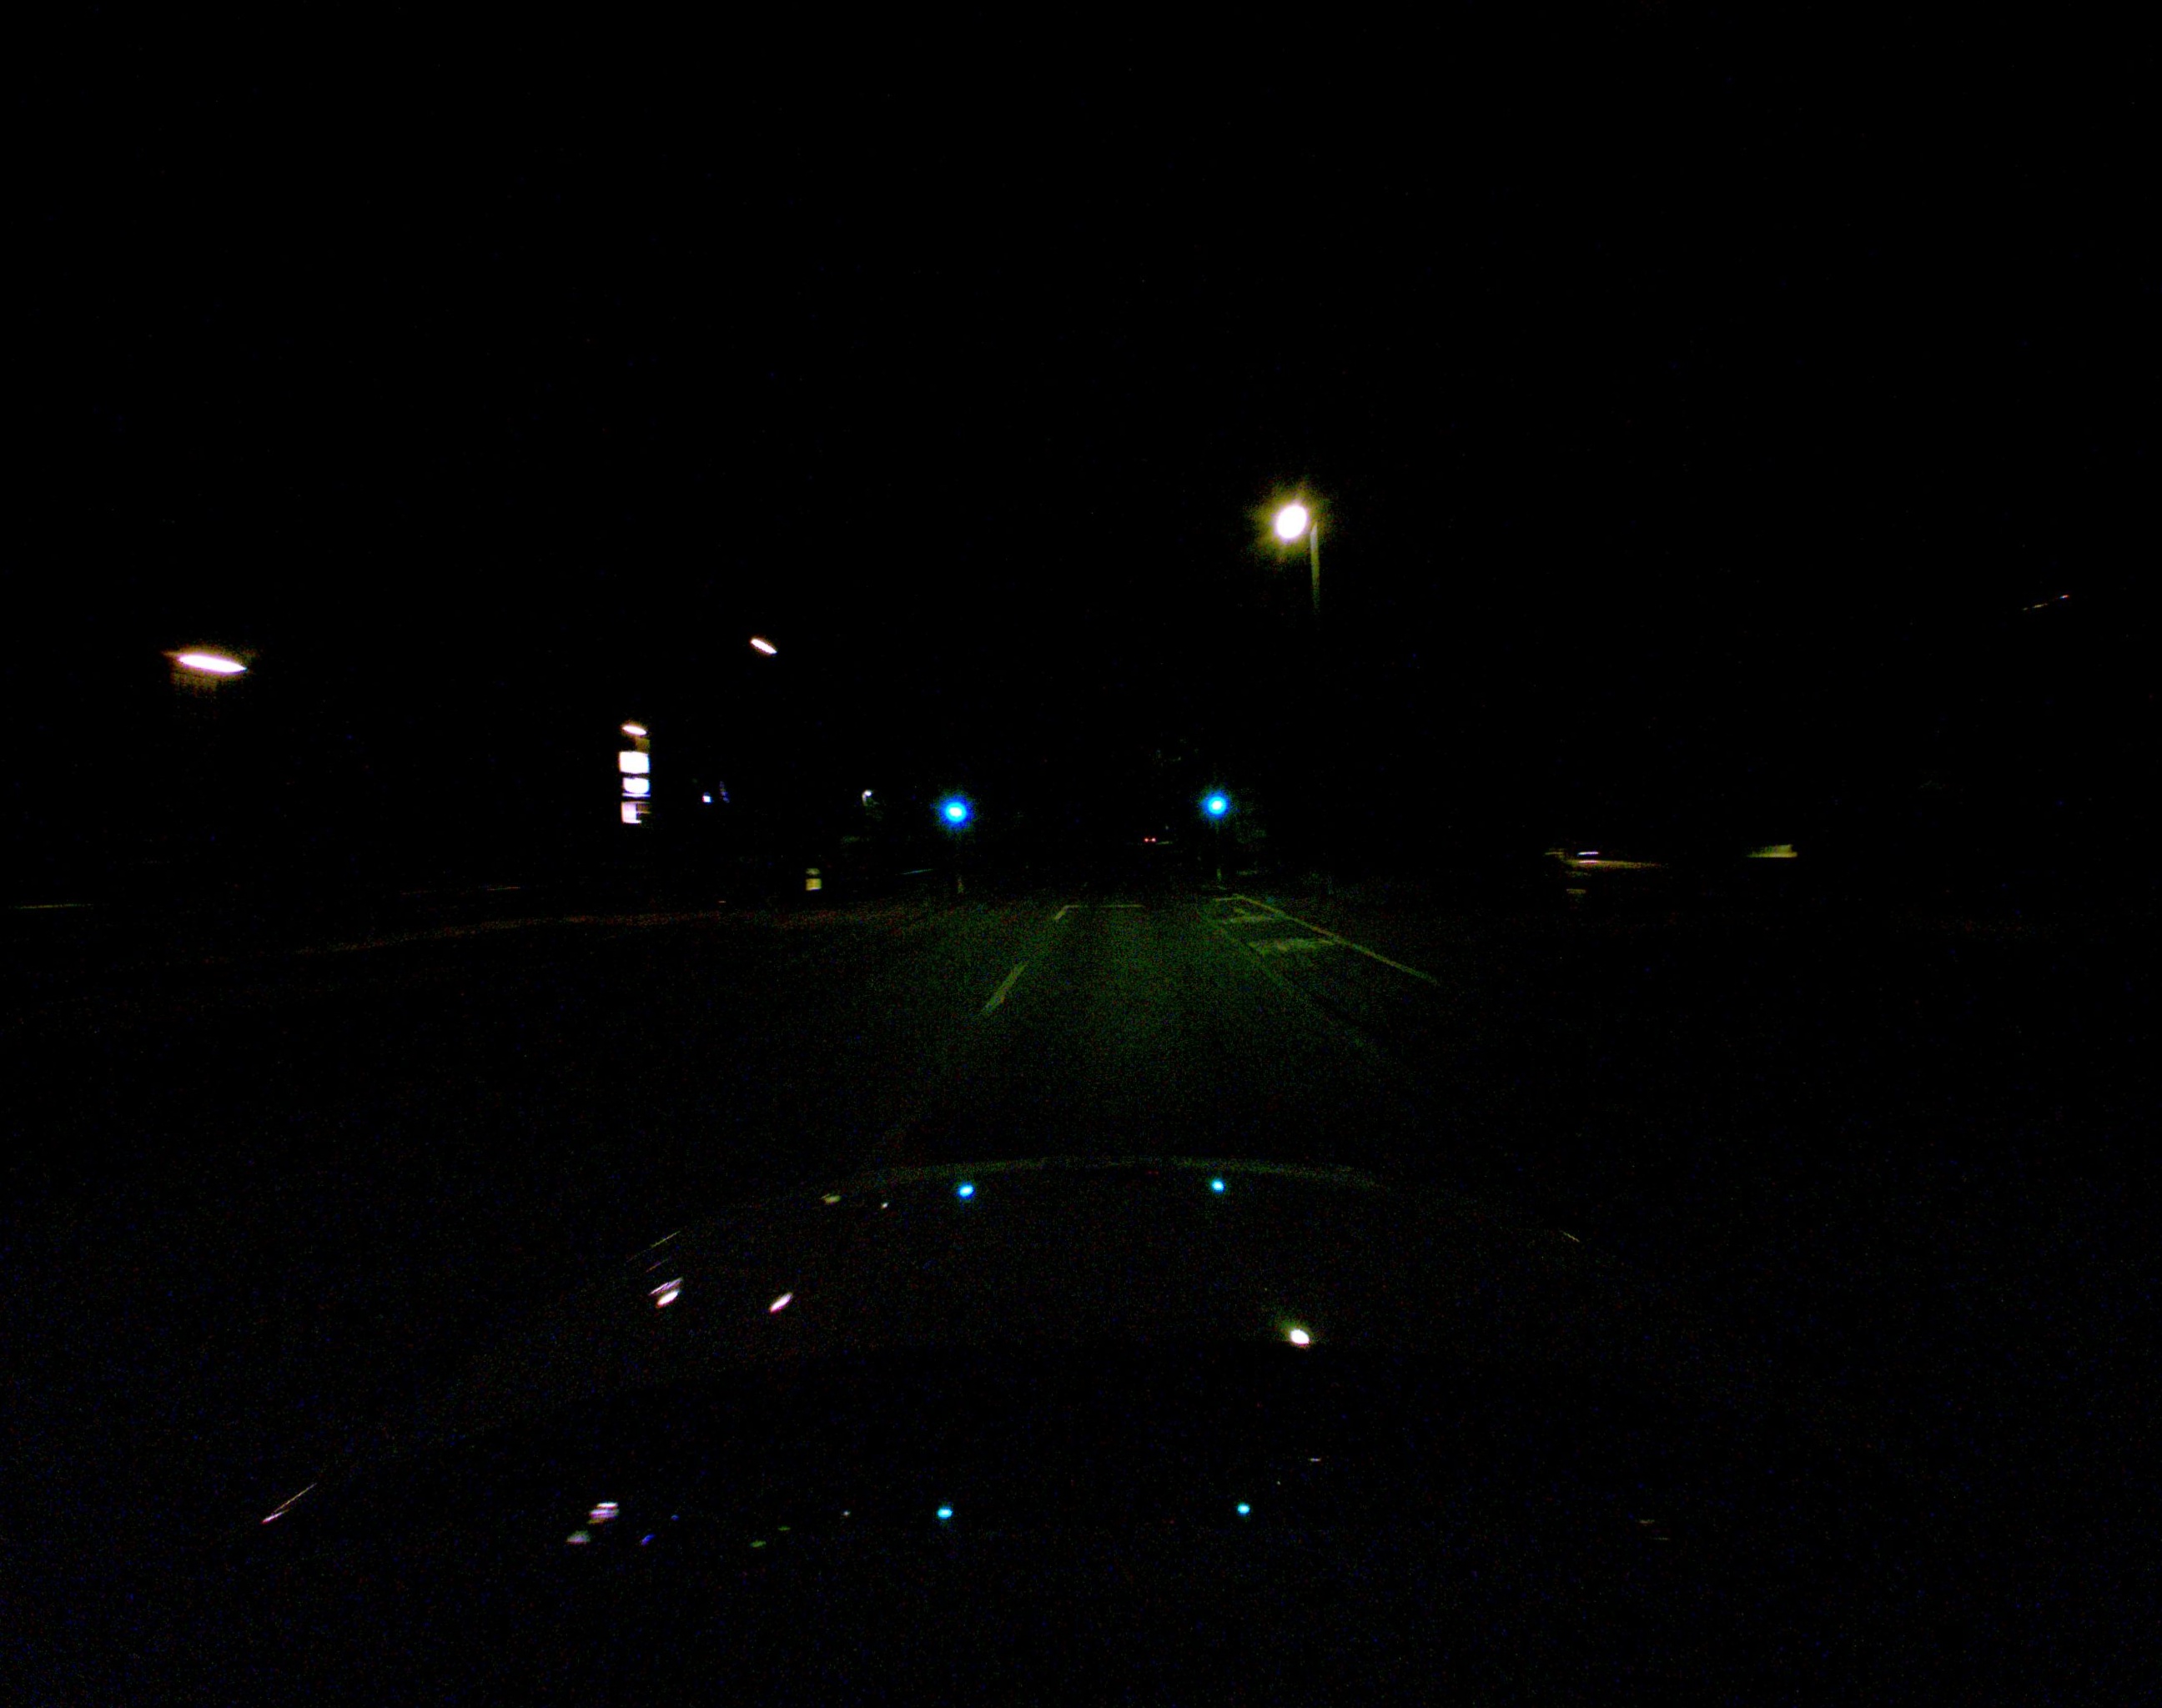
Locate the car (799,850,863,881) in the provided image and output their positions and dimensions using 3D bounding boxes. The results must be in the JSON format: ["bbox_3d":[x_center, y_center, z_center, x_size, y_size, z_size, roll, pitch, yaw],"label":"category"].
[{"bbox_3d":[-13.366,0.585,43.843,1.638,1.339,4.549,-6,1,4],"label":"car"}]

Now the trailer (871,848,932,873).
[{"bbox_3d":[-12.510,0.456,57.128,2.405,1.374,4.668,-6,0,10],"label":"trailer"}]

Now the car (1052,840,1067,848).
[{"bbox_3d":[-3.874,-1.859,145.018,1.984,1.338,5.440,-2,1,5],"label":"car"}]

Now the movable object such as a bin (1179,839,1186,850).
[{"bbox_3d":[11.695,-1.069,93.777,0.829,1.181,0.830,-2,1,8],"label":"movable object such as a bin"}]

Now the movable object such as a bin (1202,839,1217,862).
[{"bbox_3d":[6.979,-0.185,44.165,0.719,1.200,0.722,-2,1,12],"label":"movable object such as a bin"}]

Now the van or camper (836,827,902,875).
[{"bbox_3d":[-12.970,-0.234,50.260,2.264,2.647,5.666,-4,1,1],"label":"van or camper"}]

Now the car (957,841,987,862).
[{"bbox_3d":[-10.287,-0.252,77.244,1.849,1.904,4.884,-2,1,3],"label":"car"}]

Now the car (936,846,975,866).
[{"bbox_3d":[-10.941,0.137,71.191,1.891,1.522,5.183,-2,1,8],"label":"car"}]

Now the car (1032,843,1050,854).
[{"bbox_3d":[-6.151,-0.884,125.328,1.984,1.628,4.684,-2,1,5],"label":"car"}]

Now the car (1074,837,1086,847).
[{"bbox_3d":[-0.200,-2.574,175.441,2.082,2.013,4.006,-6,1,5],"label":"car"}]

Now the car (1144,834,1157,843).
[{"bbox_3d":[12.491,-2.856,147.386,2.153,1.583,4.016,-1,1,2],"label":"car"}]

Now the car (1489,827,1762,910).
[{"bbox_3d":[9.802,0.235,14.906,3.749,1.354,1.860,-1,1,2],"label":"car"}]

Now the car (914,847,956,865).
[{"bbox_3d":[-11.777,0.130,65.726,3.018,1.326,1.534,-2,1,0],"label":"car"}]
